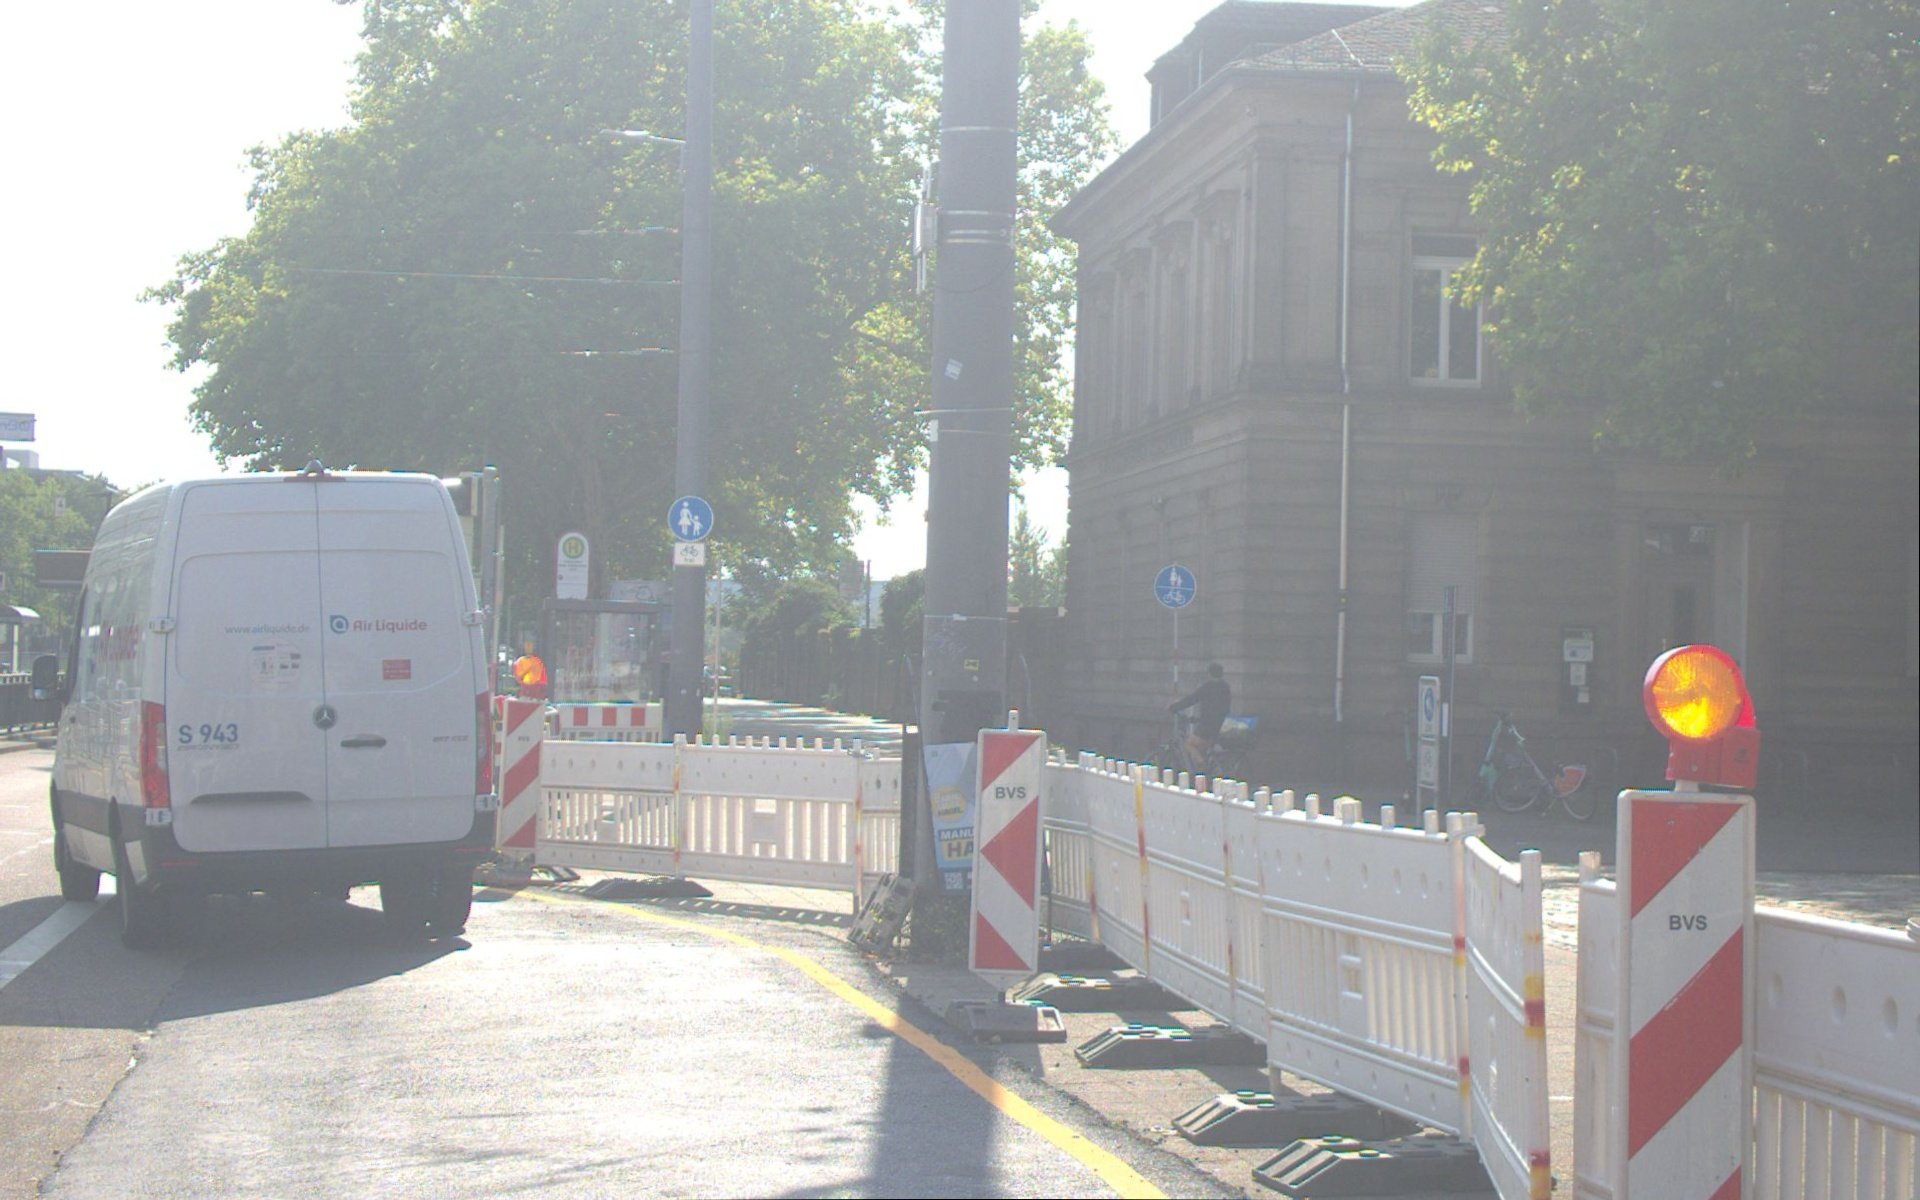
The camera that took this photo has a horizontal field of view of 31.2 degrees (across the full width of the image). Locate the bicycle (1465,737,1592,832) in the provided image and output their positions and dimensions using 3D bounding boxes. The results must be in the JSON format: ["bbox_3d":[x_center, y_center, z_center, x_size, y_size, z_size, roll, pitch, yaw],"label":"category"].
[{"bbox_3d":[6.825,2.209,41.324,0.491,0.996,1.818,3,0,-26],"label":"bicycle"}]

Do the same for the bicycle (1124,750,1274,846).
[{"bbox_3d":[2.896,2.397,41.796,1.856,1.085,0.491,1,-2,41],"label":"bicycle"}]

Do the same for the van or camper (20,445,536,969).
[{"bbox_3d":[-4.271,0.630,20.757,2.115,2.673,5.251,4,-2,-20],"label":"van or camper"}]

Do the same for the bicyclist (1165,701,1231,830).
[{"bbox_3d":[2.898,2.007,41.812,0.596,1.534,0.469,0,-2,41],"label":"bicyclist"}]

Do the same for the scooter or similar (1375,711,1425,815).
[{"bbox_3d":[5.371,1.983,42.011,0.425,1.224,1.173,2,-2,0],"label":"scooter or similar"}]
